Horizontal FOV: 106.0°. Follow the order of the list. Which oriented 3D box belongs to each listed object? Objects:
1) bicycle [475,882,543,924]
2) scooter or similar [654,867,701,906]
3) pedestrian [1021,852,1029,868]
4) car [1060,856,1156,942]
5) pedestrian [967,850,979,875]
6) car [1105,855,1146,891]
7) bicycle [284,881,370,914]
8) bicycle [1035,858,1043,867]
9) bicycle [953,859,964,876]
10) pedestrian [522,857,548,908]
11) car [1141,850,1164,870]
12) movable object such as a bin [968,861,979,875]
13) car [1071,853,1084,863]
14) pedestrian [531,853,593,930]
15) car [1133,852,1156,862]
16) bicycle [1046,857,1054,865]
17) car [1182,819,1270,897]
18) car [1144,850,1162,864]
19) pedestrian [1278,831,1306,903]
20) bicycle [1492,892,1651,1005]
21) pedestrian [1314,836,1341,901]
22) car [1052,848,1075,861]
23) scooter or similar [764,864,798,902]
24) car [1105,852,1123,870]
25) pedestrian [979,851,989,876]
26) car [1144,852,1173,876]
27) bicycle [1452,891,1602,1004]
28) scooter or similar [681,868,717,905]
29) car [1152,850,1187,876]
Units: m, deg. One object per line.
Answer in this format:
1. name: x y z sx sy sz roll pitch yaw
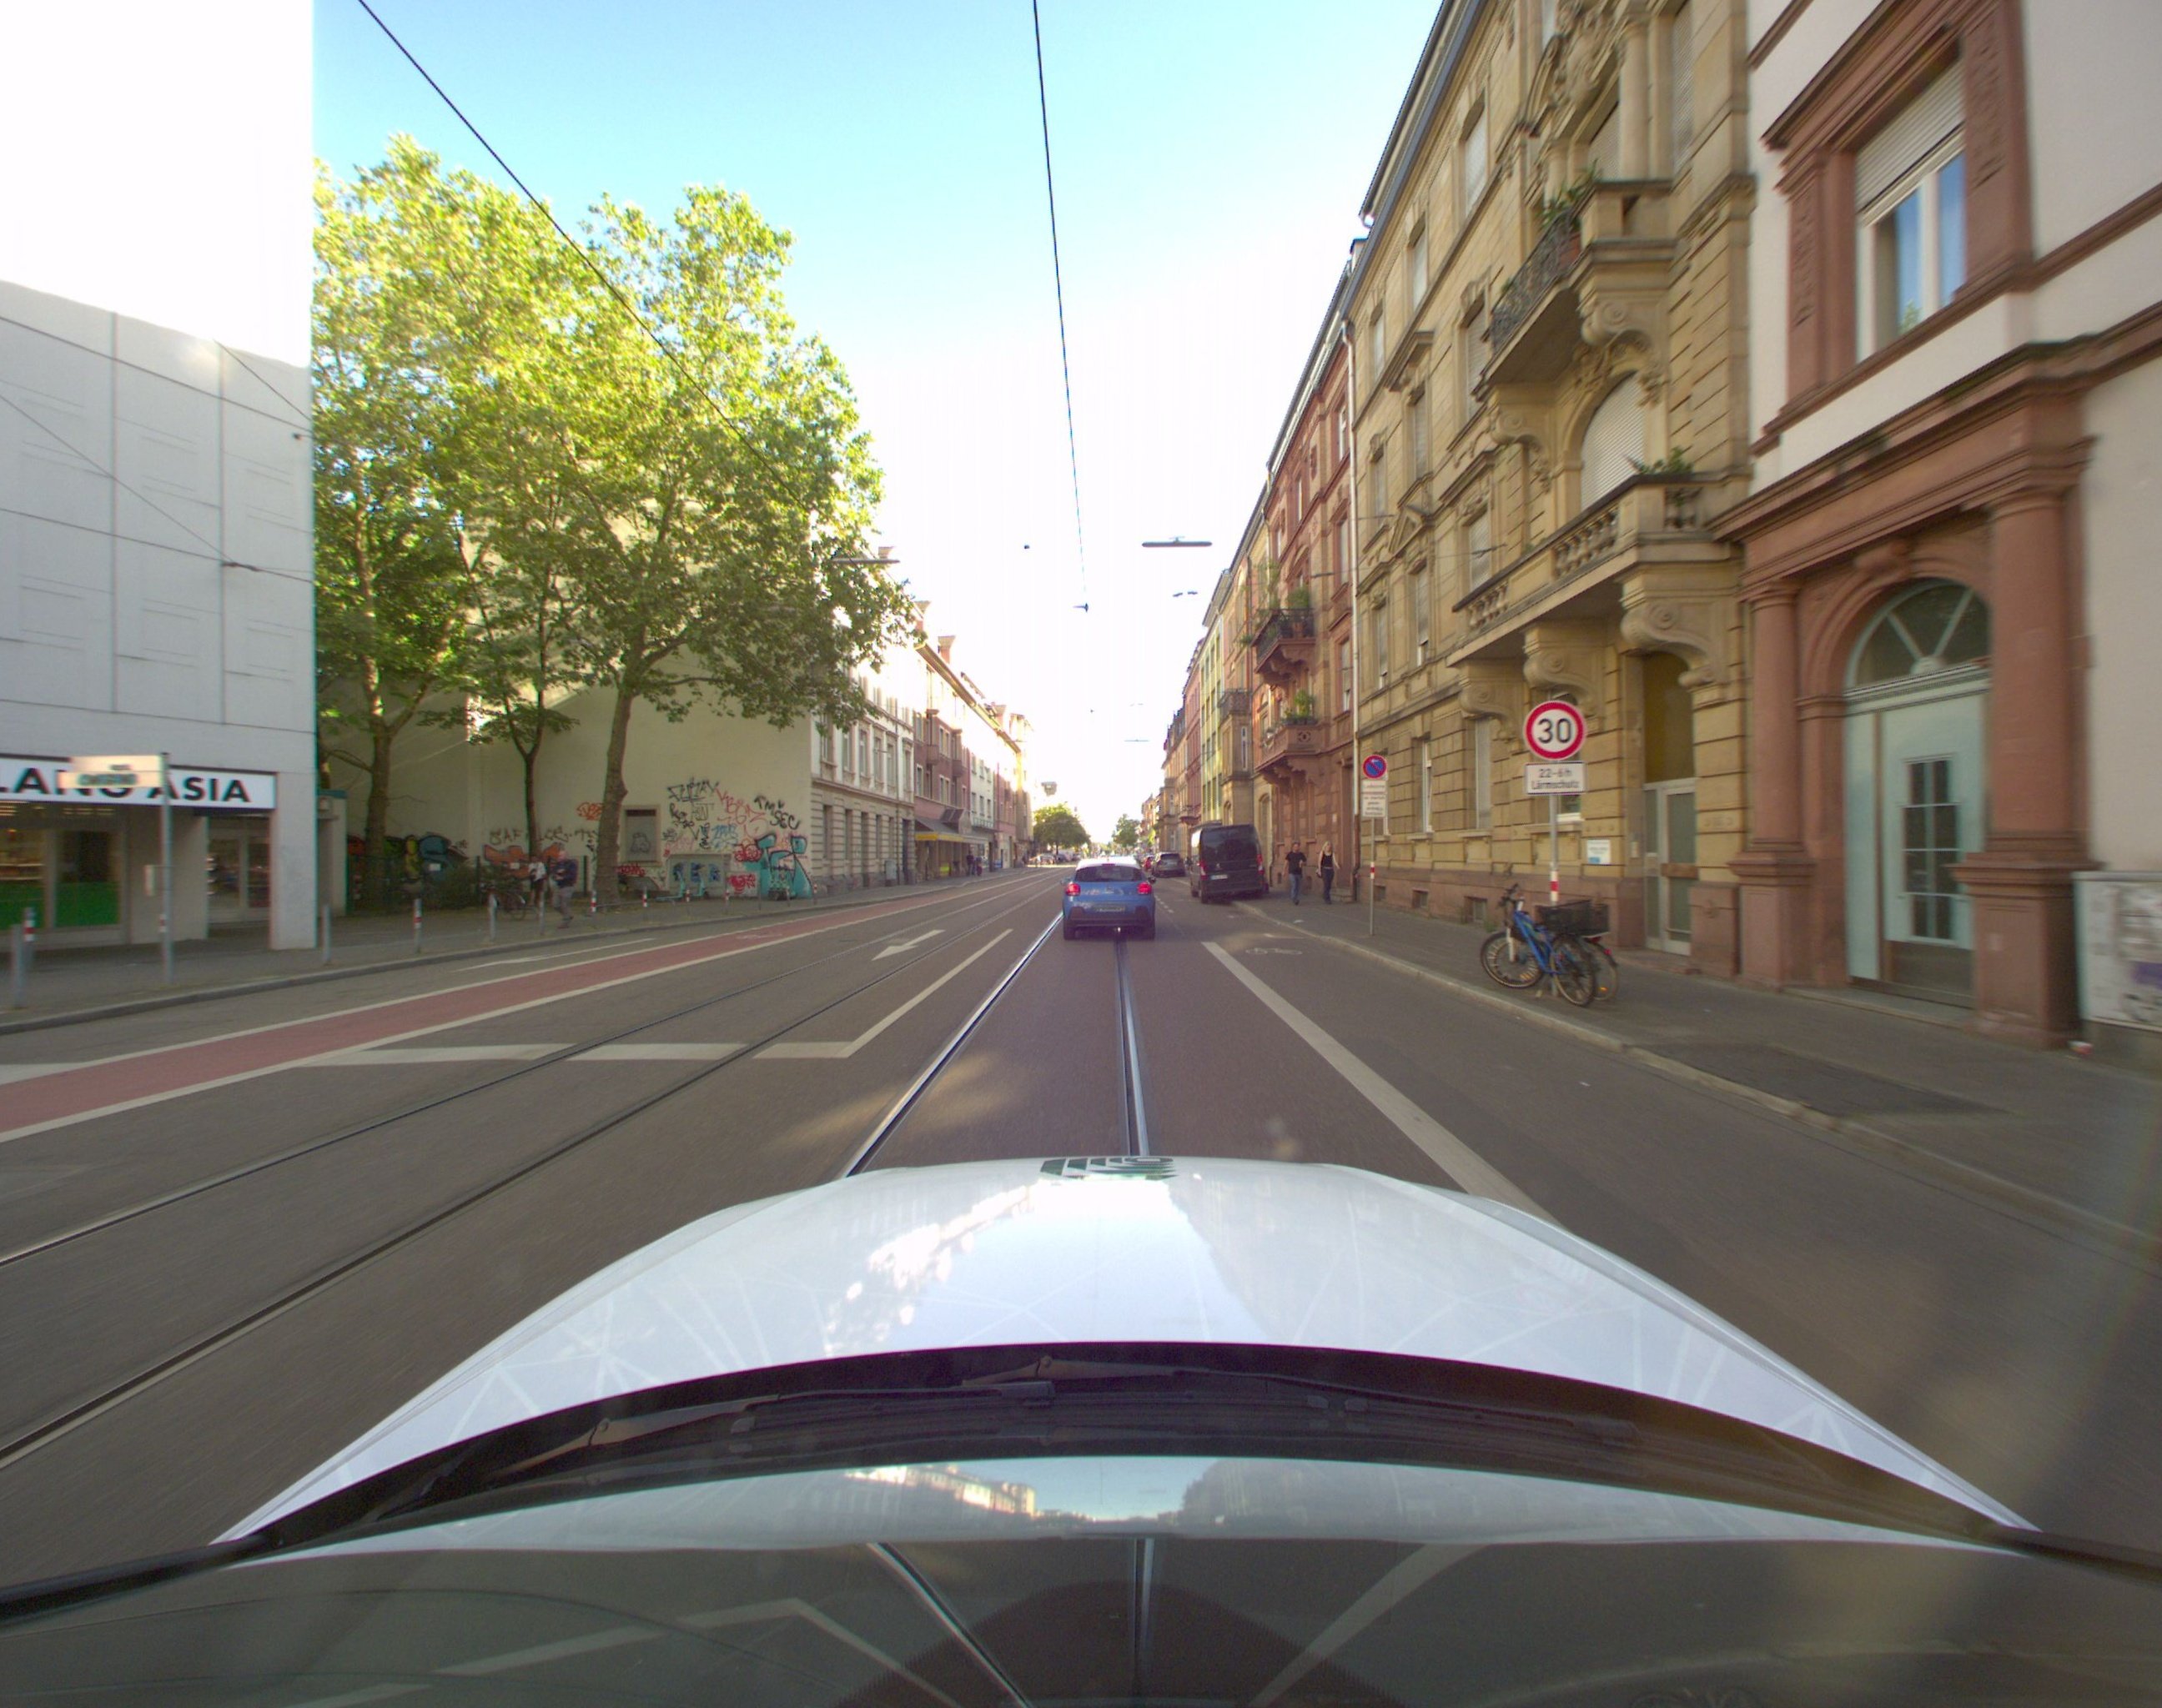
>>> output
1. bicycle: -15.094 1.267 21.479 1.898 1.034 0.669 -1 0 28
2. scooter or similar: -13.638 1.093 27.552 1.228 1.258 0.765 -1 0 -11
3. pedestrian: -5.938 0.607 86.256 0.683 1.638 0.675 -1 0 0
4. car: 0.432 0.796 16.373 1.669 1.477 3.997 -1 0 -2
5. pedestrian: -7.696 0.608 57.912 0.708 1.764 0.570 -1 0 0
6. car: 1.922 0.805 36.103 1.661 1.478 4.000 -1 0 1
7. bicycle: -23.478 1.354 25.420 0.499 0.913 1.991 -1 0 15
8. bicycle: -6.223 1.205 120.665 1.118 1.319 3.639 -1 0 -4
9. bicycle: -8.592 0.909 56.987 0.621 1.159 2.057 -1 0 -11
10. pedestrian: -18.380 0.950 27.428 0.454 1.718 0.547 -1 0 1
11. car: 7.031 0.565 80.130 1.998 1.672 4.394 -2 2 2
12. movable object such as a bin: -7.725 1.005 58.570 0.608 0.914 0.695 -1 0 1
13. car: -0.542 0.694 133.991 1.986 1.651 4.001 -1 0 1
14. pedestrian: -12.298 0.870 19.323 0.678 1.765 1.029 -1 0 12
15. car: 11.350 0.520 145.556 3.824 1.618 1.791 -1 0 -1
16. bicycle: -4.658 0.984 120.872 1.118 1.146 3.639 -1 0 -4
17. car: 4.960 0.128 28.748 2.263 2.437 5.722 -1 0 2
18. car: 9.217 0.417 104.676 1.998 1.672 4.393 -3 0 2
19. pedestrian: 5.996 0.364 23.162 0.583 2.013 0.823 -1 0 1
20. bicycle: 4.956 0.904 8.371 0.430 0.947 1.760 -1 0 -5
21. pedestrian: 6.889 0.403 22.806 0.551 1.782 0.606 -1 0 0
22. car: -3.616 0.174 169.706 4.328 2.581 2.192 -1 0 -24
23. scooter or similar: -10.651 1.018 28.935 0.785 1.271 1.075 2 1 1
24. car: 3.805 0.768 93.687 1.987 2.013 4.000 -1 0 1
25. pedestrian: -6.898 0.664 58.032 0.709 1.764 0.653 -1 0 -7
26. car: 5.832 0.743 61.546 1.899 1.757 4.001 -1 0 1
27. bicycle: 4.490 0.890 8.337 0.430 0.947 1.760 -1 0 -5
28. scooter or similar: -13.371 1.126 28.529 0.937 1.222 0.765 -1 0 -11
29. car: 6.044 0.609 55.939 1.998 1.672 4.808 -1 0 2
